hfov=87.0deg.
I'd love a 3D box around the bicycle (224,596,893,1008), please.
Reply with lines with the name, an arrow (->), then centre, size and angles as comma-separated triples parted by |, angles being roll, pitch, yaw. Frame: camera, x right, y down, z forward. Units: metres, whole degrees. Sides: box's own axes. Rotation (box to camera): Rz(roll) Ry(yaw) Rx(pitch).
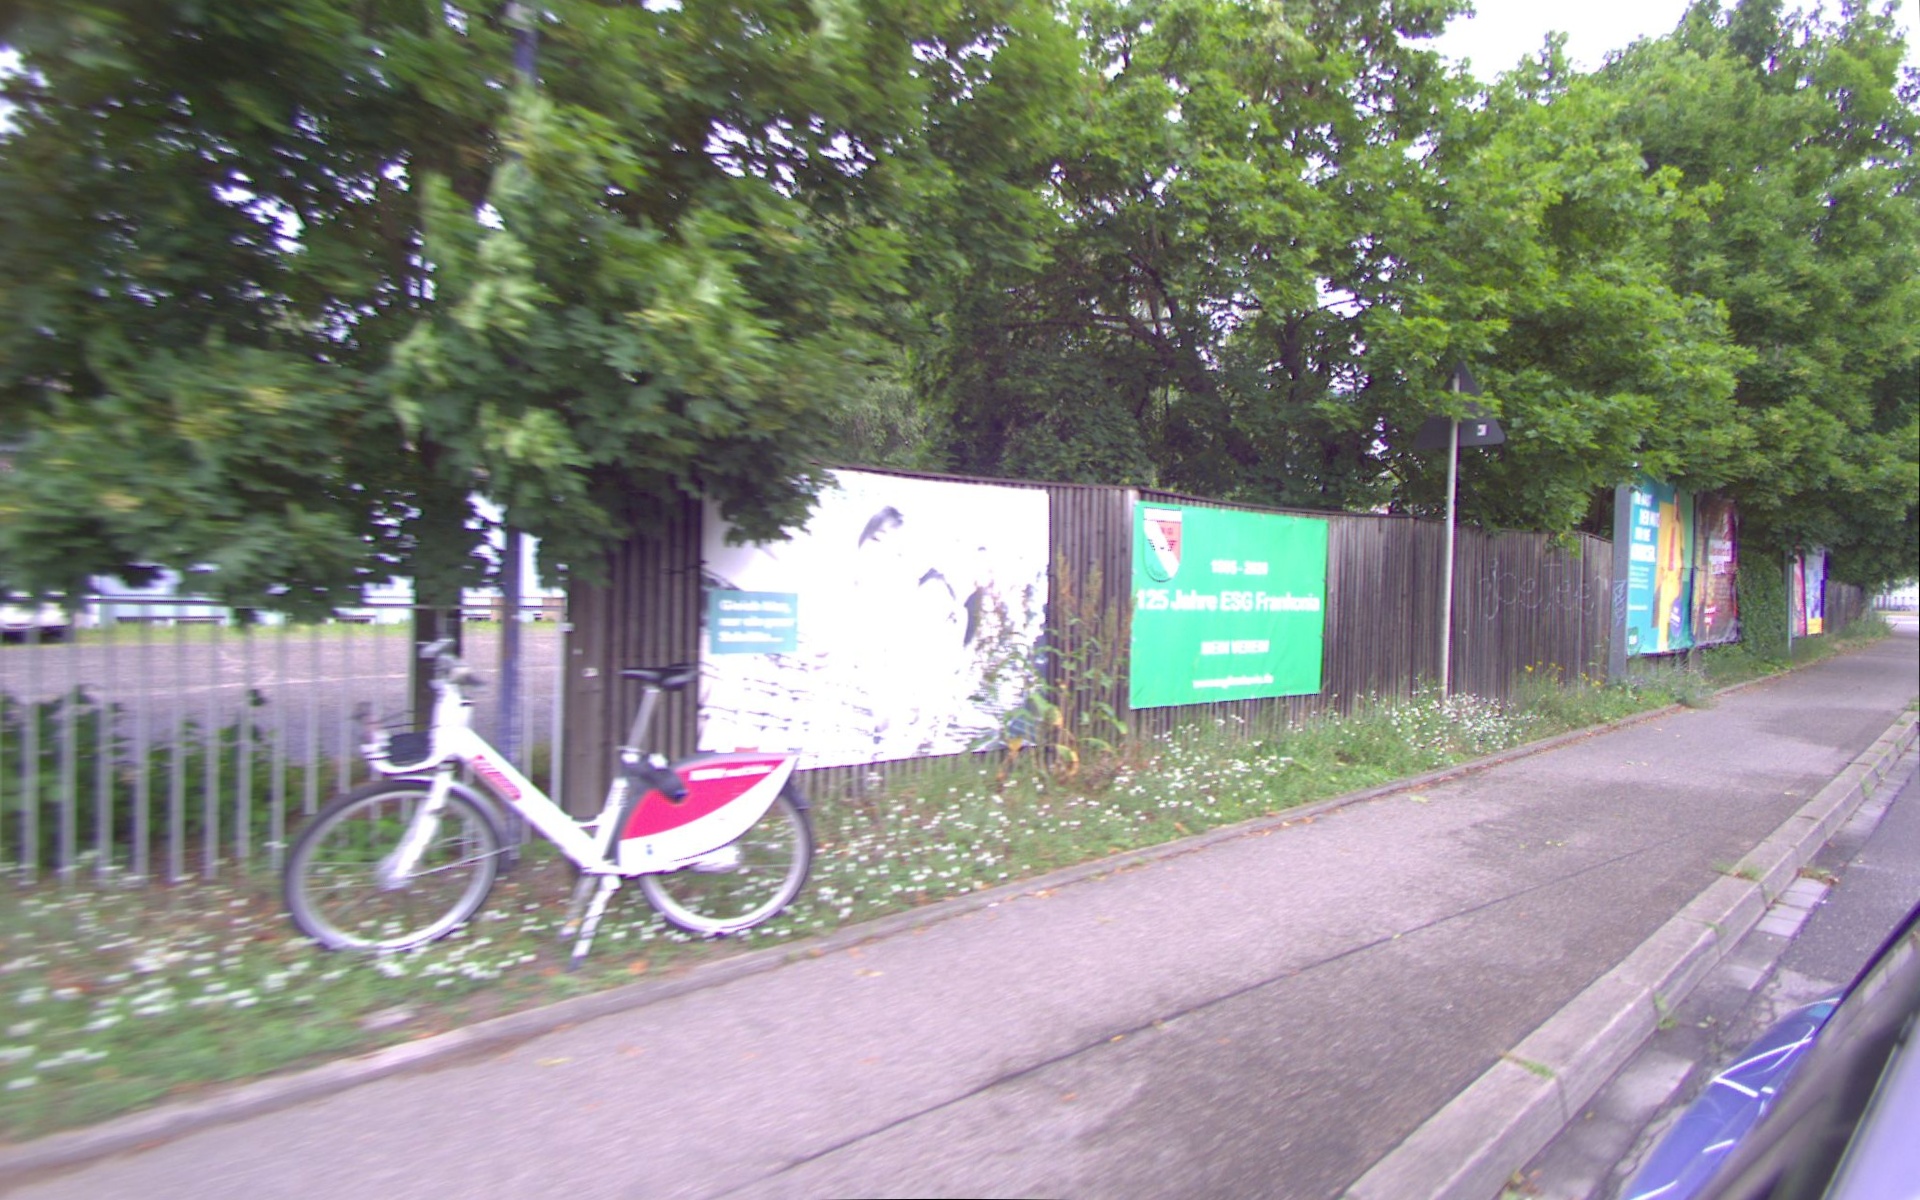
bicycle -> -1.275, 0.573, 3.513 | 1.911, 1.125, 0.800 | 1, 1, -21

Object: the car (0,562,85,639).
car -> -18.795, -0.052, 20.104 | 4.291, 1.405, 1.806 | 2, 1, 45
